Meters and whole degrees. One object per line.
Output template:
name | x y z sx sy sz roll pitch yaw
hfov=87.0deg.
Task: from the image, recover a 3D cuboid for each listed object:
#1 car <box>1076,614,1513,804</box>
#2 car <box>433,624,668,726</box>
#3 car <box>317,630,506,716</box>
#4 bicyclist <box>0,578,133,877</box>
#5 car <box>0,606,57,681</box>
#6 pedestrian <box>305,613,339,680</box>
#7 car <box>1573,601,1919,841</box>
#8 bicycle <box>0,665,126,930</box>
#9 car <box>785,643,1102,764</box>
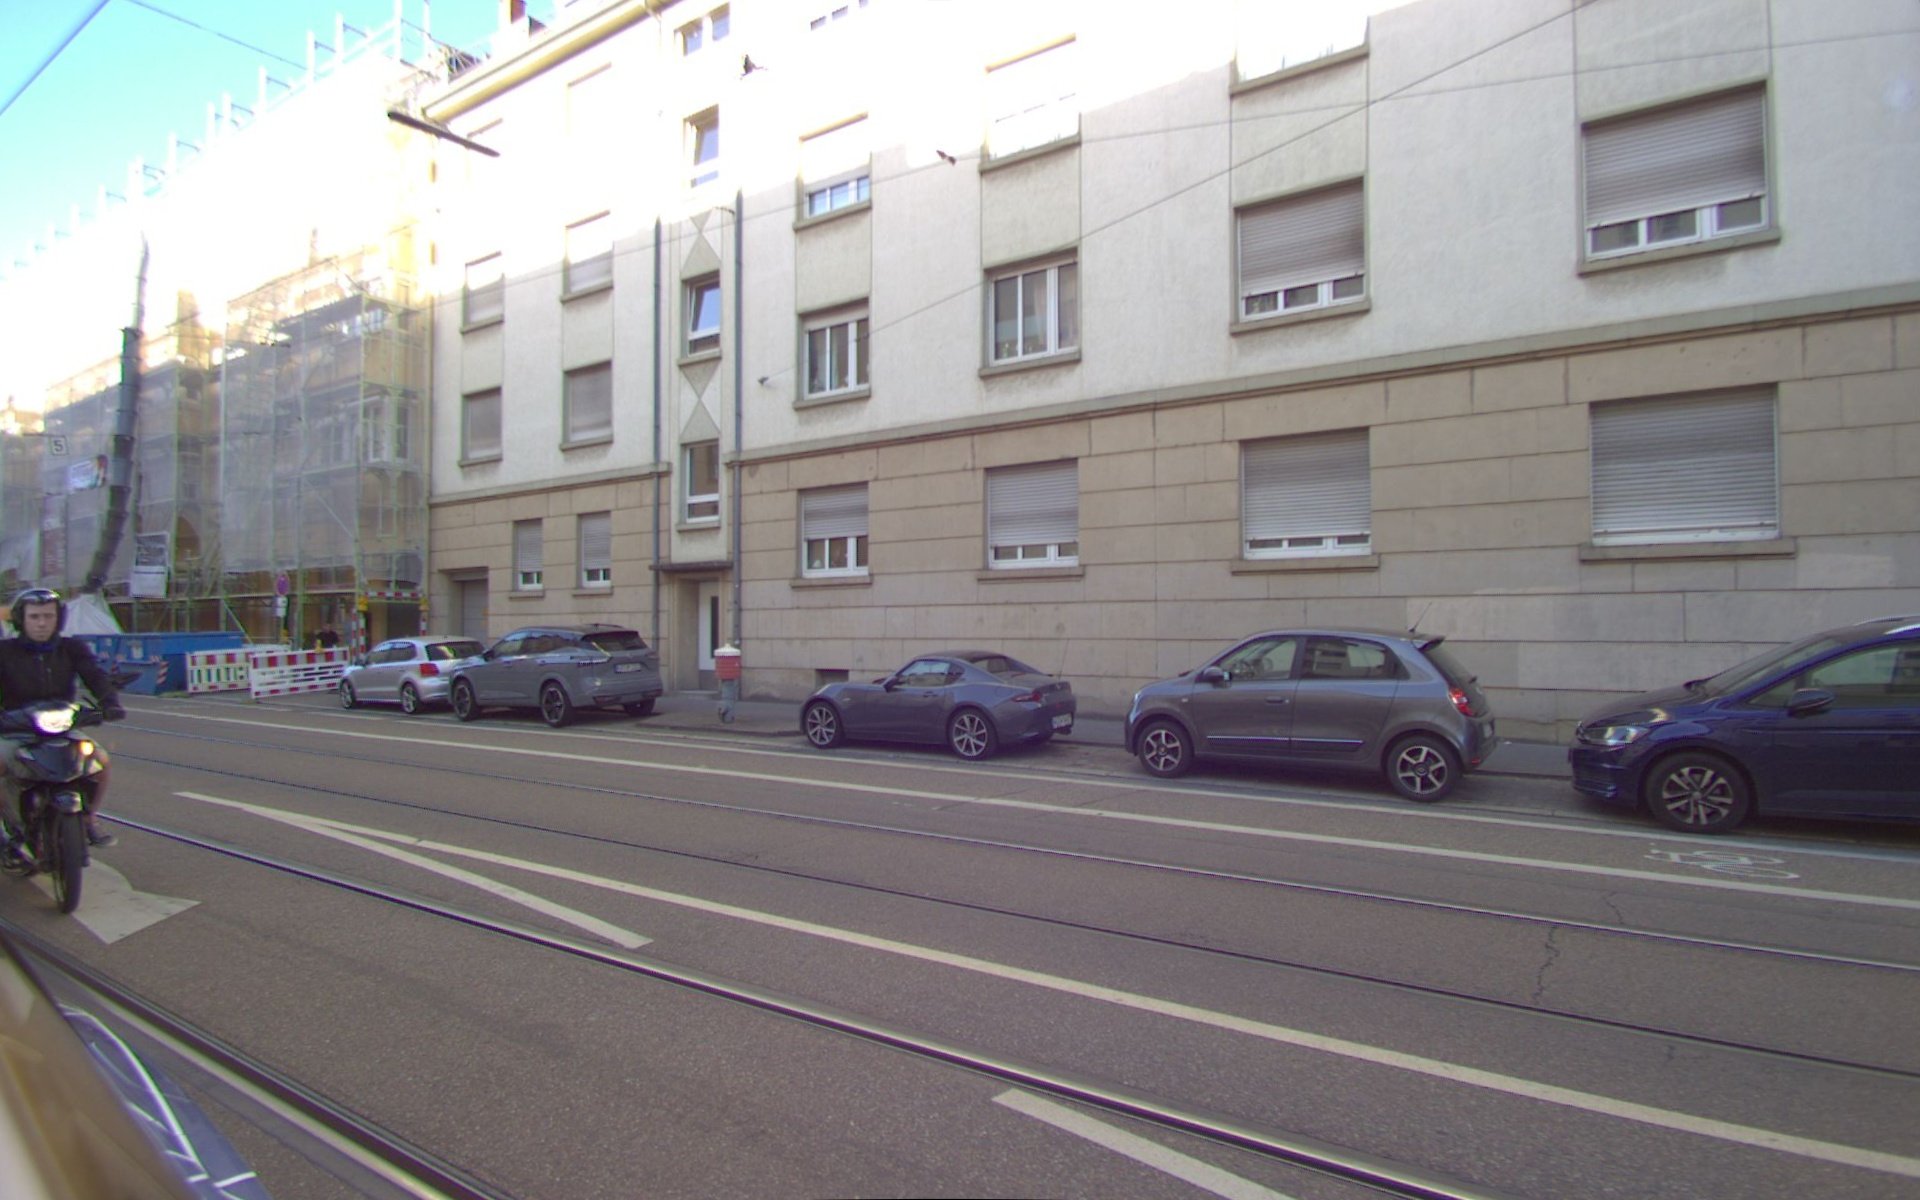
car | 3.364 0.961 10.473 3.990 1.581 1.685 -1 0 35
car | -7.188 1.231 17.620 4.395 1.580 1.685 -2 -2 35
car | -11.002 1.380 20.222 3.990 1.426 1.685 -1 1 35
bicyclist | -5.232 0.683 5.720 0.831 1.566 0.851 1 -3 -39
car | -33.739 1.510 35.194 5.985 2.488 2.101 -2 -3 35
pedestrian | -16.569 1.205 26.303 0.572 1.707 0.719 -1 -1 -18
car | 7.114 0.834 7.611 4.228 1.627 1.687 -1 0 31
bicycle | -5.085 0.979 5.546 0.729 1.186 1.978 1 -3 -38
car | -0.263 1.221 12.940 3.774 1.225 1.686 -1 0 33
